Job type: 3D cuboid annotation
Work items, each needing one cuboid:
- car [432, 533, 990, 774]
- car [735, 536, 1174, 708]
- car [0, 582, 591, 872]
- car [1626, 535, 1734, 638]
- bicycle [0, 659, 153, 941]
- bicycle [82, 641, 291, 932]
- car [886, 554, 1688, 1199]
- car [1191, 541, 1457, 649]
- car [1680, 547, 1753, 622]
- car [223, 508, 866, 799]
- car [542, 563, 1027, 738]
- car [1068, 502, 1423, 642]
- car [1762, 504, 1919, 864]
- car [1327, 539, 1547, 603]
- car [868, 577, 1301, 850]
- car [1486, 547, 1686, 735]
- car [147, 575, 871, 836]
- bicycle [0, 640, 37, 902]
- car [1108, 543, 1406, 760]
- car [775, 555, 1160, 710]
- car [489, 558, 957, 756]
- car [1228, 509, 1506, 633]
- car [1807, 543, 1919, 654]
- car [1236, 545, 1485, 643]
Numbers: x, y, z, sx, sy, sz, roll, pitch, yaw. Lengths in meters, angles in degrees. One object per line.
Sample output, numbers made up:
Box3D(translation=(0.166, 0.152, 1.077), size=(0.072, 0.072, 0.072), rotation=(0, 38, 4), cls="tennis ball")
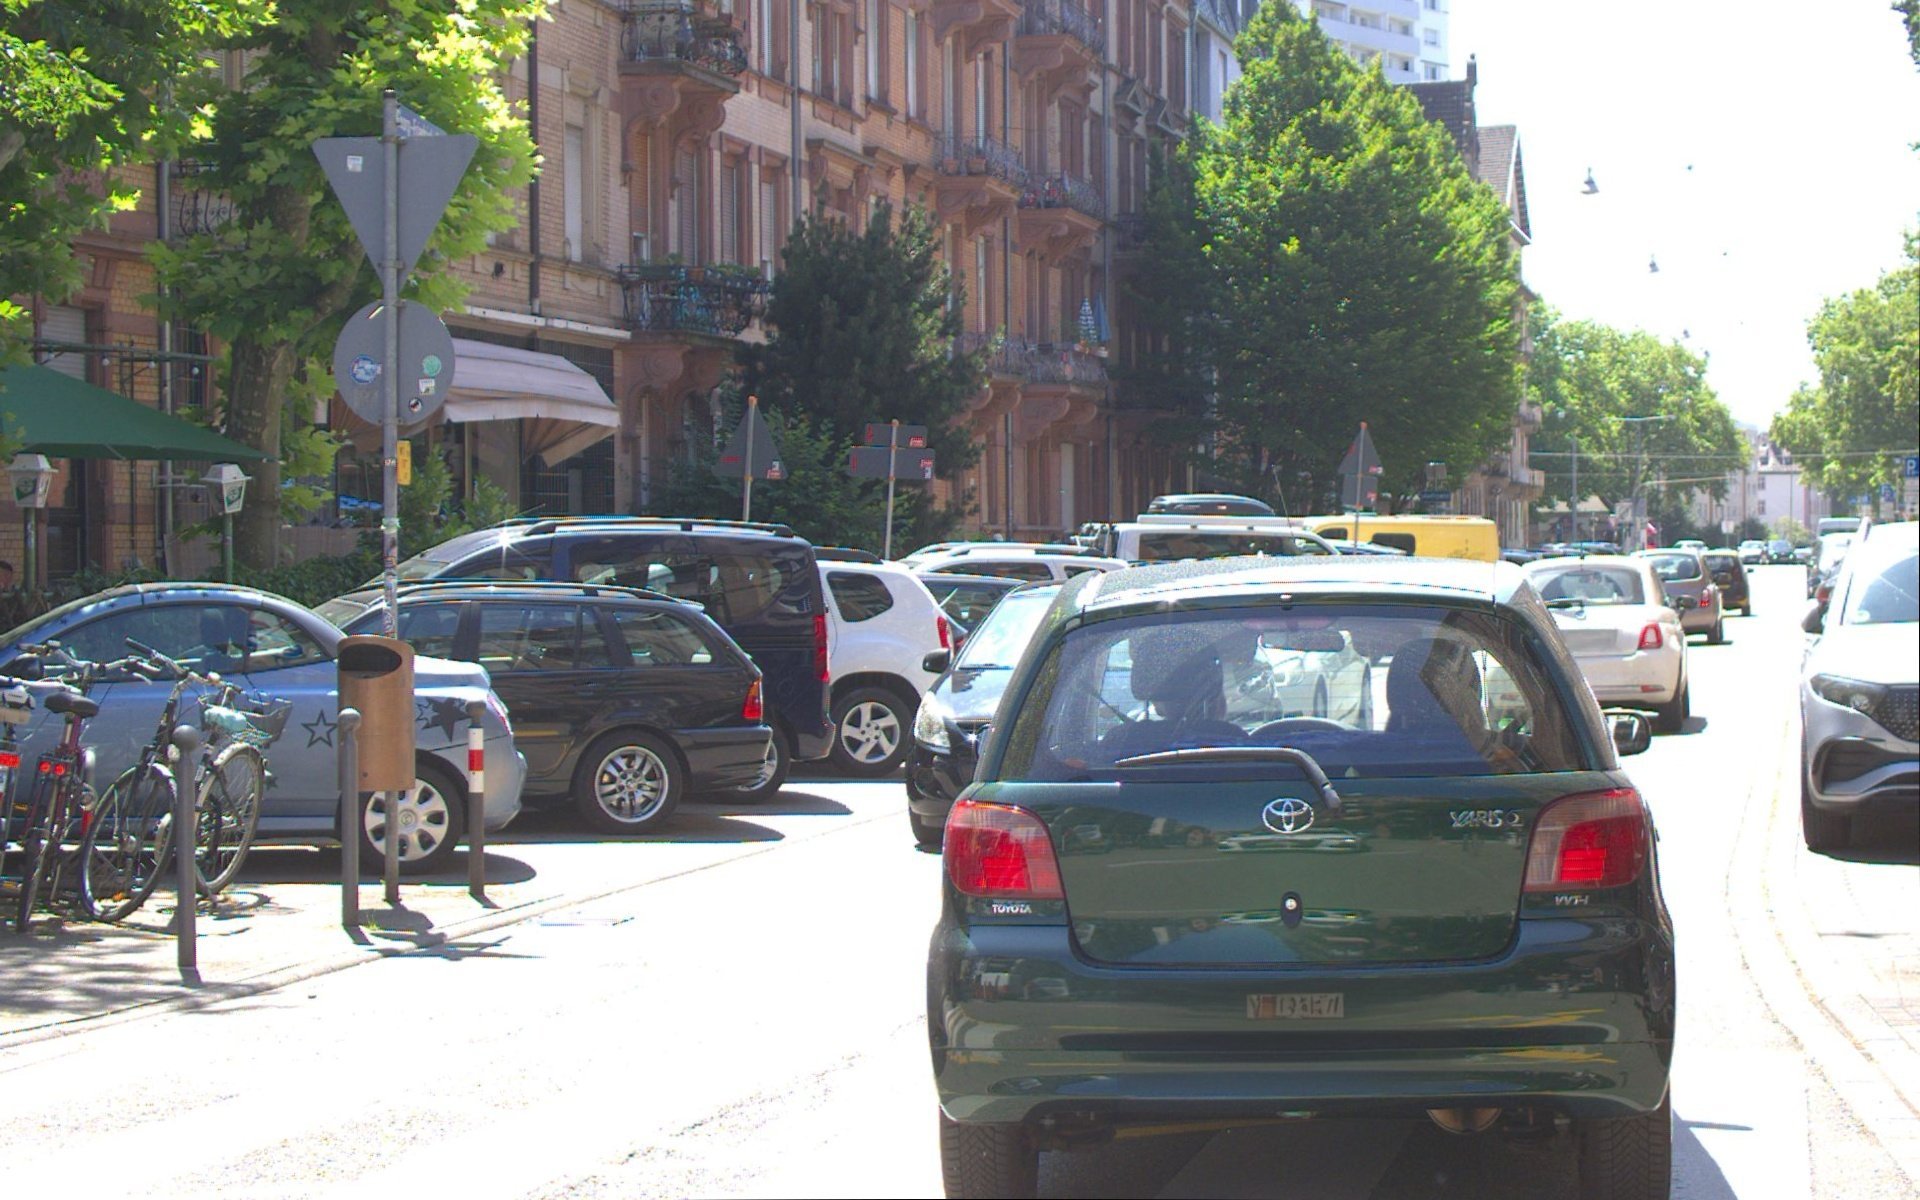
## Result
Box3D(translation=(-1.902, 0.381, 25.642), size=(3.986, 1.652, 1.760), rotation=(1, 1, -9), cls="car")
Box3D(translation=(-0.055, 0.178, 33.941), size=(3.909, 1.613, 1.866), rotation=(0, 1, -26), cls="car")
Box3D(translation=(-4.065, 0.630, 17.908), size=(3.986, 1.371, 2.001), rotation=(1, 1, -15), cls="car")
Box3D(translation=(11.470, -0.236, 54.671), size=(1.523, 1.587, 3.262), rotation=(0, 1, 15), cls="car")
Box3D(translation=(-4.034, 0.837, 15.065), size=(0.490, 1.078, 1.899), rotation=(1, 1, 1), cls="bicycle")
Box3D(translation=(-3.448, 0.803, 15.438), size=(0.490, 1.169, 1.685), rotation=(1, 1, 2), cls="bicycle")
Box3D(translation=(0.756, 0.650, 8.640), size=(1.614, 1.480, 3.240), rotation=(-1, 0, 3), cls="car")
Box3D(translation=(5.844, -0.097, 55.439), size=(3.909, 1.702, 1.866), rotation=(0, 1, -9), cls="car")
Box3D(translation=(16.597, -0.357, 75.410), size=(1.523, 1.587, 3.262), rotation=(0, 1, 13), cls="car")
Box3D(translation=(-2.784, 0.339, 22.773), size=(3.986, 1.798, 1.769), rotation=(1, 1, -15), cls="car")
Box3D(translation=(-1.567, 0.407, 30.751), size=(3.909, 1.465, 1.866), rotation=(0, 1, -26), cls="car")
Box3D(translation=(4.153, -0.418, 50.269), size=(4.772, 1.987, 2.054), rotation=(0, 1, -14), cls="car")
Box3D(translation=(5.376, 0.360, 18.480), size=(1.873, 1.707, 4.501), rotation=(-2, 0, 15), cls="car")
Box3D(translation=(10.844, -0.665, 78.292), size=(4.556, 1.429, 2.001), rotation=(0, 1, -12), cls="car")
Box3D(translation=(0.854, 0.606, 20.577), size=(1.756, 1.439, 3.997), rotation=(-1, 1, 14), cls="car")
Box3D(translation=(5.470, 0.307, 29.810), size=(1.523, 1.516, 3.262), rotation=(0, 1, 14), cls="car")
Box3D(translation=(-2.736, 0.614, 20.581), size=(3.986, 1.407, 1.972), rotation=(1, 1, -18), cls="car")
Box3D(translation=(-4.447, 0.775, 15.017), size=(0.337, 1.153, 1.620), rotation=(1, 1, 1), cls="bicycle")
Box3D(translation=(2.624, 0.387, 29.408), size=(1.755, 1.639, 4.375), rotation=(-3, 0, 14), cls="car")
Box3D(translation=(0.049, 0.320, 37.078), size=(3.909, 1.613, 1.866), rotation=(0, 1, -9), cls="car")
Box3D(translation=(-1.930, 0.441, 27.621), size=(3.618, 1.453, 1.625), rotation=(1, 1, -7), cls="car")
Box3D(translation=(7.310, -0.530, 61.856), size=(4.556, 2.180, 2.001), rotation=(0, 1, -12), cls="car")
Box3D(translation=(12.318, -0.046, 46.189), size=(1.756, 1.424, 3.997), rotation=(-1, 1, 14), cls="car")
Box3D(translation=(6.793, -0.112, 58.502), size=(3.861, 1.634, 1.786), rotation=(0, 1, -9), cls="car")
